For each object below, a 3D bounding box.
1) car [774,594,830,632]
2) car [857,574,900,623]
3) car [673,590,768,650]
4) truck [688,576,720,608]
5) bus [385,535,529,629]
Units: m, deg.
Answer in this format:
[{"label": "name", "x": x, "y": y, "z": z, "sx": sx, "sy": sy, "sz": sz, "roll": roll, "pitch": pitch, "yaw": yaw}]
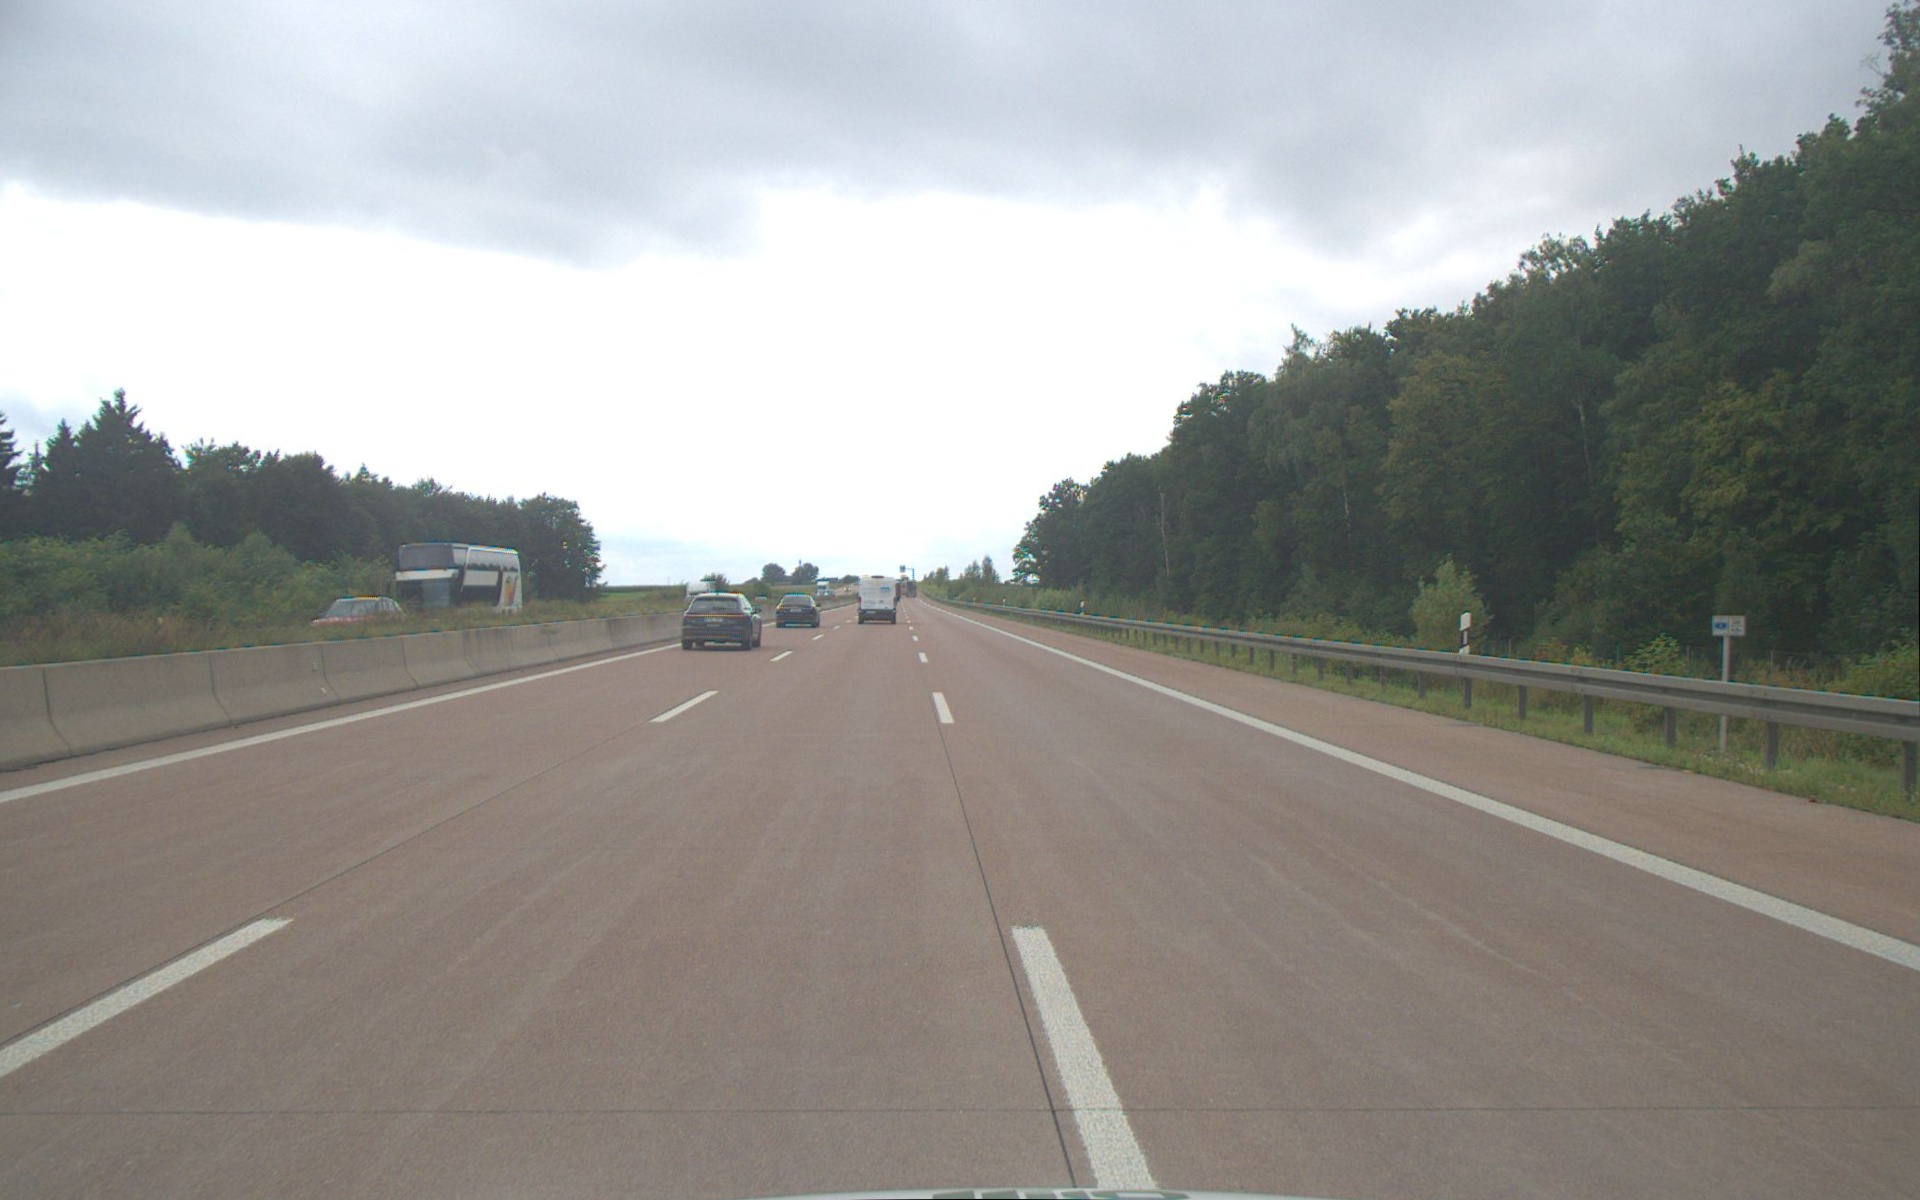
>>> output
[{"label": "car", "x": -7.222, "y": 0.576, "z": 76.177, "sx": 2.042, "sy": 1.577, "sz": 5.674, "roll": 1, "pitch": 1, "yaw": 0}, {"label": "car", "x": -4.316, "y": -0.126, "z": 88.495, "sx": 2.094, "sy": 2.550, "sz": 7.129, "roll": 0, "pitch": 1, "yaw": -2}, {"label": "car", "x": -6.515, "y": 0.510, "z": 45.511, "sx": 2.017, "sy": 1.517, "sz": 5.450, "roll": 1, "pitch": 0, "yaw": -2}, {"label": "truck", "x": -26.599, "y": -0.831, "z": 172.294, "sx": 2.309, "sy": 3.153, "sz": 7.478, "roll": 2, "pitch": 0, "yaw": -2}, {"label": "bus", "x": -23.184, "y": -0.792, "z": 77.285, "sx": 2.988, "sy": 3.956, "sz": 14.354, "roll": 1, "pitch": 0, "yaw": -3}]
